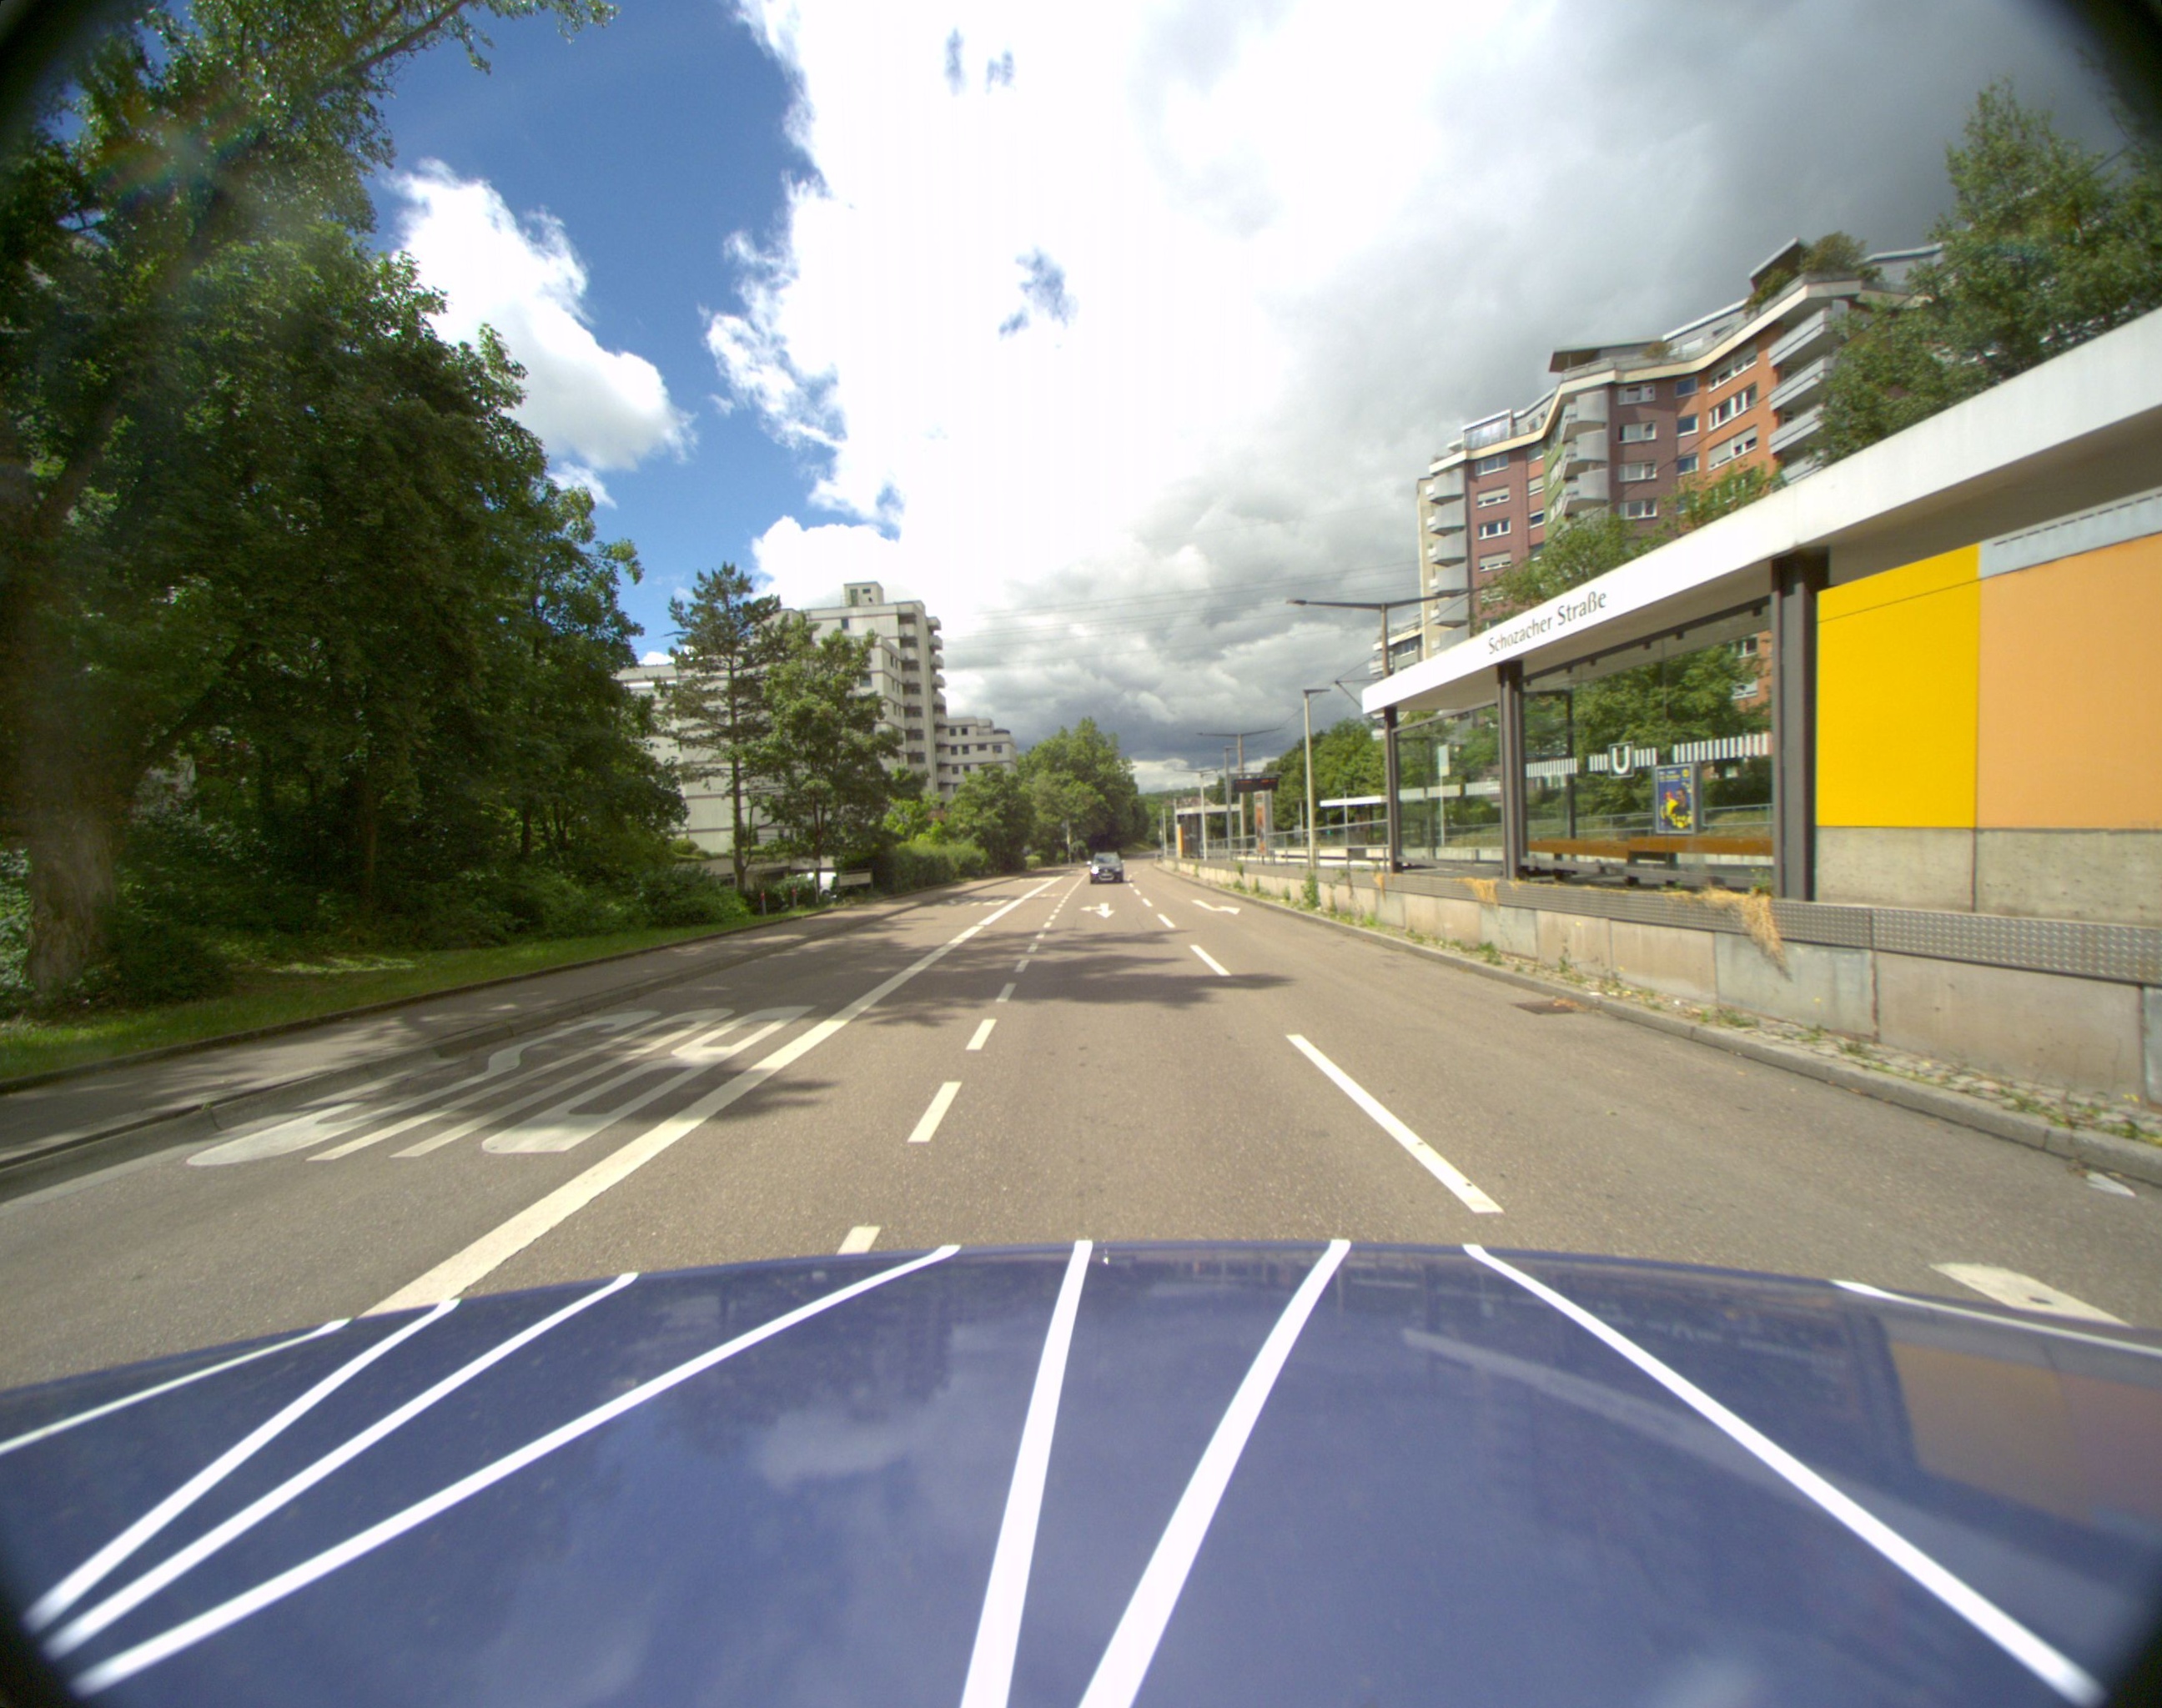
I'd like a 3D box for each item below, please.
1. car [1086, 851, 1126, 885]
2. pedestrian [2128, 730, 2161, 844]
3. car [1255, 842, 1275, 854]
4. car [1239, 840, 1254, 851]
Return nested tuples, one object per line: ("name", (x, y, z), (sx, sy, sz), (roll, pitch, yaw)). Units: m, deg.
("car", (1.274, 0.632, 37.335), (1.736, 1.477, 3.817), (-2, 1, 5))
("pedestrian", (15.828, -0.976, 11.113), (0.522, 1.635, 0.563), (-3, 1, -31))
("car", (23.296, -0.724, 96.213), (1.658, 1.410, 4.000), (-2, 1, 1))
("car", (24.544, -1.222, 112.781), (1.658, 1.504, 3.738), (-2, 1, 5))
